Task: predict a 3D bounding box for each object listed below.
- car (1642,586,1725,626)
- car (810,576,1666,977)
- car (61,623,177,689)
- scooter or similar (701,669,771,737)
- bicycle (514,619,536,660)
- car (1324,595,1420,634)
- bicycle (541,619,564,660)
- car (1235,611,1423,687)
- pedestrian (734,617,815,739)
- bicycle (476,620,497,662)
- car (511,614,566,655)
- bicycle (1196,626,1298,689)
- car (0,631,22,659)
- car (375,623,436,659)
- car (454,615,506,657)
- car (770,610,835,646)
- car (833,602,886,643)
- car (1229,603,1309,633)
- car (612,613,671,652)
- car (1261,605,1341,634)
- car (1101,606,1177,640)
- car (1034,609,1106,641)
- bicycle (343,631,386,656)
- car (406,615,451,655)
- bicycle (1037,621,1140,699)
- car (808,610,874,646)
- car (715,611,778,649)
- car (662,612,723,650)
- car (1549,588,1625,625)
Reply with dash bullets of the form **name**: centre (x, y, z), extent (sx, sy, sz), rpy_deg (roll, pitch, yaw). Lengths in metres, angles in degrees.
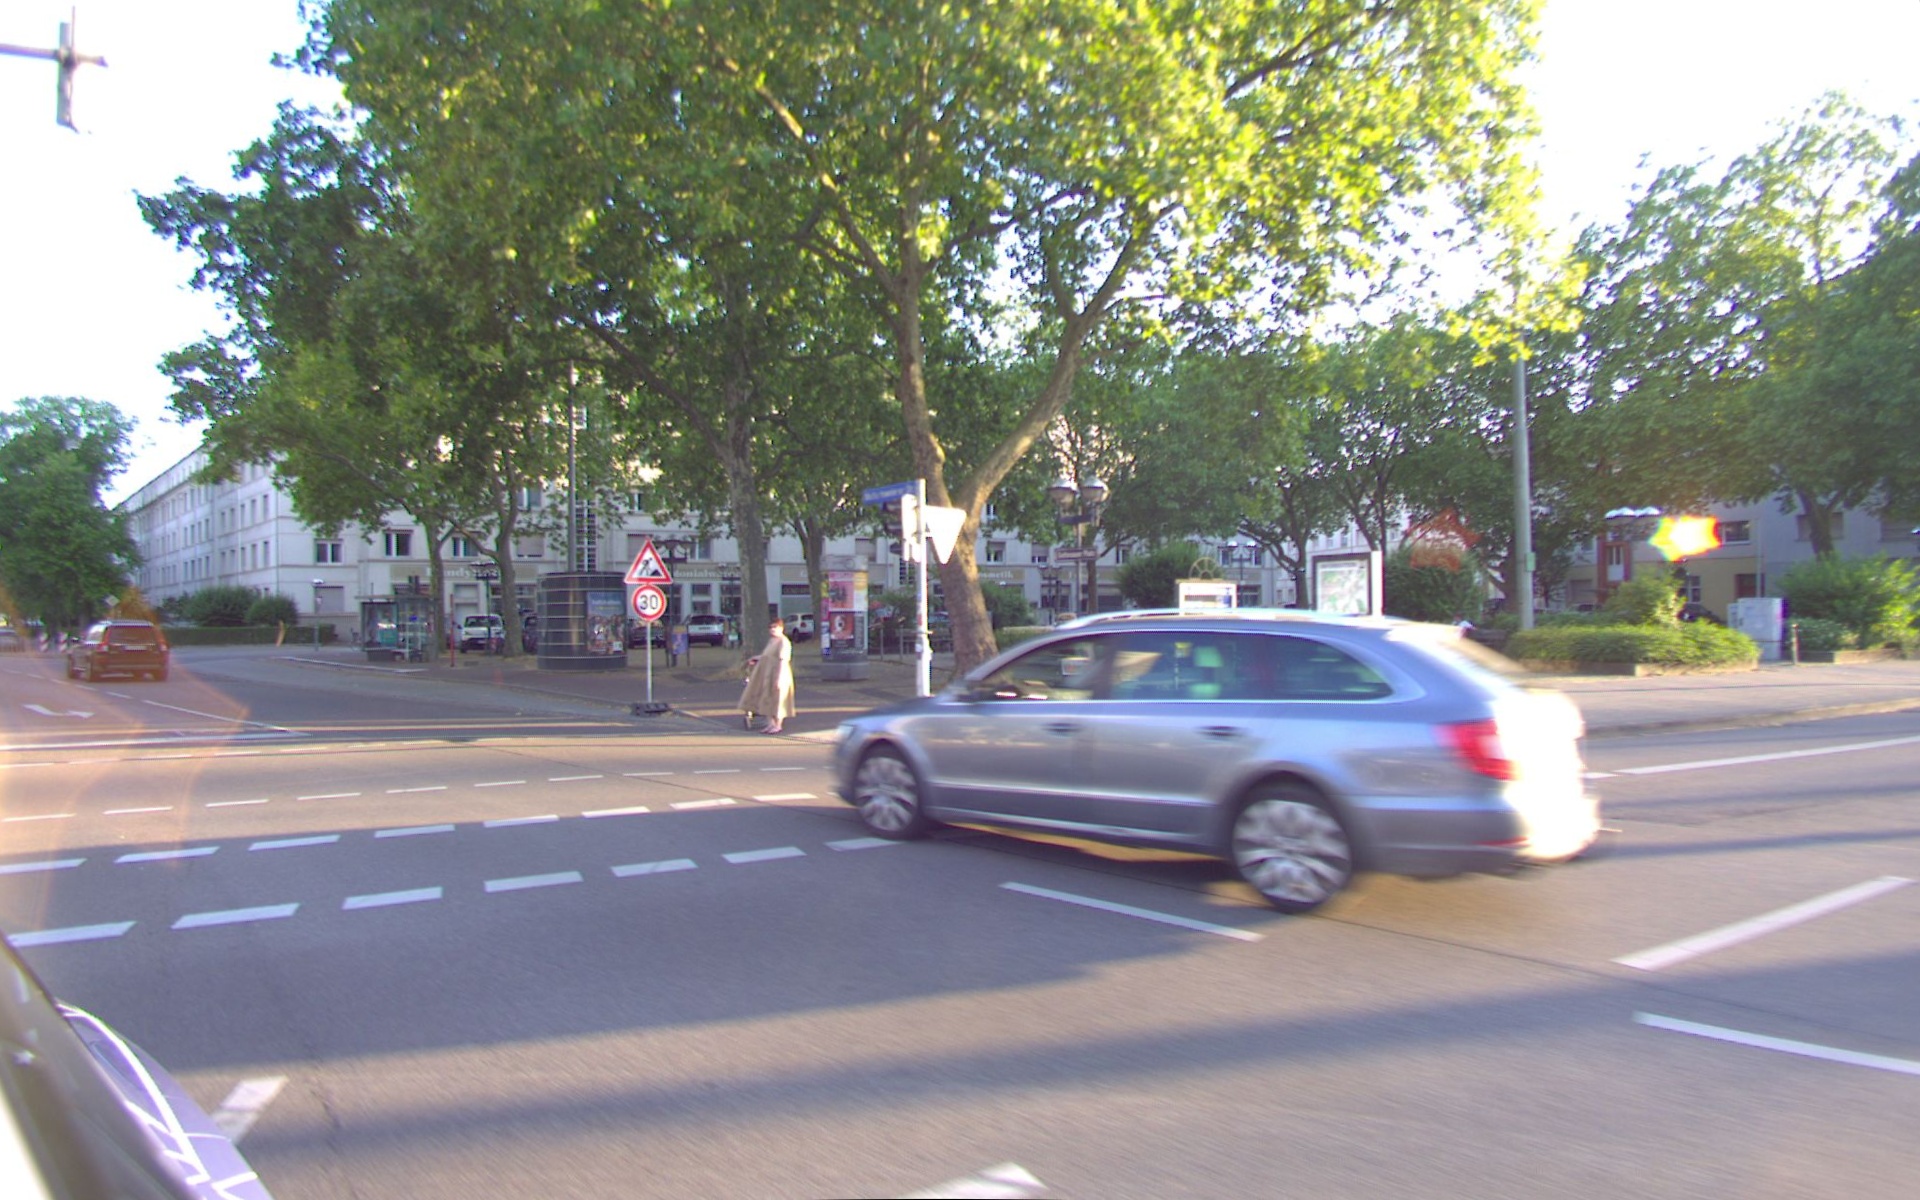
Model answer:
- **car**: centre (39.067, 0.317, 54.632), extent (3.931, 2.029, 2.007), rpy_deg (-1, 0, -26)
- **car**: centre (1.380, 0.758, 6.299), extent (4.766, 1.570, 1.973), rpy_deg (-2, -2, 41)
- **car**: centre (-25.831, 1.691, 31.038), extent (4.795, 1.798, 1.973), rpy_deg (-2, -1, 41)
- **scooter or similar**: centre (-3.284, 1.495, 14.840), extent (0.850, 0.904, 0.586), rpy_deg (-1, 0, 36)
- **bicycle**: centre (-18.412, 1.654, 42.839), extent (0.795, 1.626, 2.754), rpy_deg (-1, 0, -23)
- **car**: centre (22.570, 0.825, 55.667), extent (1.965, 1.953, 4.655), rpy_deg (1, -3, -27)
- **bicycle**: centre (-17.464, 1.659, 43.338), extent (0.795, 1.626, 2.754), rpy_deg (-1, 0, -23)
- **car**: centre (9.541, 1.279, 26.614), extent (1.965, 1.795, 4.655), rpy_deg (0, -3, -23)
- **pedestrian**: centre (-2.628, 1.070, 14.351), extent (0.772, 1.640, 0.794), rpy_deg (-1, 0, 37)
- **bicycle**: centre (-19.607, 1.685, 41.932), extent (0.680, 1.626, 2.754), rpy_deg (-1, 0, -23)
- **car**: centre (-19.804, 1.657, 47.438), extent (1.965, 1.795, 4.655), rpy_deg (1, -3, -27)
- **bicycle**: centre (5.363, 1.059, 19.001), extent (1.798, 1.101, 0.453), rpy_deg (-1, 0, 40)
- **car**: centre (-60.737, 2.844, 64.102), extent (1.866, 1.612, 4.004), rpy_deg (-1, 0, -43)
- **car**: centre (-24.801, 1.844, 45.200), extent (1.966, 1.515, 4.653), rpy_deg (1, -3, -34)
- **car**: centre (-21.873, 1.669, 46.017), extent (1.965, 1.795, 4.655), rpy_deg (1, -3, -27)
- **car**: centre (-8.298, 1.496, 52.889), extent (1.965, 1.795, 4.655), rpy_deg (1, -3, -27)
- **car**: centre (-6.591, 1.426, 66.166), extent (1.965, 2.460, 4.656), rpy_deg (1, 0, -25)
- **car**: centre (20.076, 1.224, 65.945), extent (1.967, 1.824, 4.659), rpy_deg (1, -3, -37)
- **car**: centre (-15.559, 1.620, 49.349), extent (1.965, 1.795, 4.655), rpy_deg (1, -3, -27)
- **car**: centre (22.512, 1.338, 66.971), extent (1.968, 1.748, 4.648), rpy_deg (1, -3, -39)
- **car**: centre (9.639, 1.224, 54.580), extent (3.697, 1.674, 1.680), rpy_deg (-1, 0, -22)
- **car**: centre (6.452, 1.522, 59.782), extent (1.965, 1.748, 4.655), rpy_deg (1, -3, -27)
- **bicycle**: centre (-30.674, 2.217, 52.138), extent (1.776, 1.215, 0.649), rpy_deg (-1, 0, -15)
- **car**: centre (-28.540, 1.825, 54.445), extent (1.965, 1.970, 4.656), rpy_deg (0, 0, -25)
- **bicycle**: centre (2.341, 1.074, 18.673), extent (0.519, 1.336, 1.996), rpy_deg (-1, 0, -43)
- **car**: centre (-6.431, 1.527, 54.277), extent (1.965, 1.795, 4.655), rpy_deg (1, -3, -27)
- **car**: centre (-10.895, 1.554, 51.435), extent (1.965, 1.795, 4.655), rpy_deg (1, -3, -27)
- **car**: centre (-13.323, 1.576, 50.214), extent (1.965, 1.795, 4.655), rpy_deg (1, -3, -27)
- **car**: centre (36.622, 0.335, 59.096), extent (3.931, 2.029, 2.007), rpy_deg (-1, 0, -26)
